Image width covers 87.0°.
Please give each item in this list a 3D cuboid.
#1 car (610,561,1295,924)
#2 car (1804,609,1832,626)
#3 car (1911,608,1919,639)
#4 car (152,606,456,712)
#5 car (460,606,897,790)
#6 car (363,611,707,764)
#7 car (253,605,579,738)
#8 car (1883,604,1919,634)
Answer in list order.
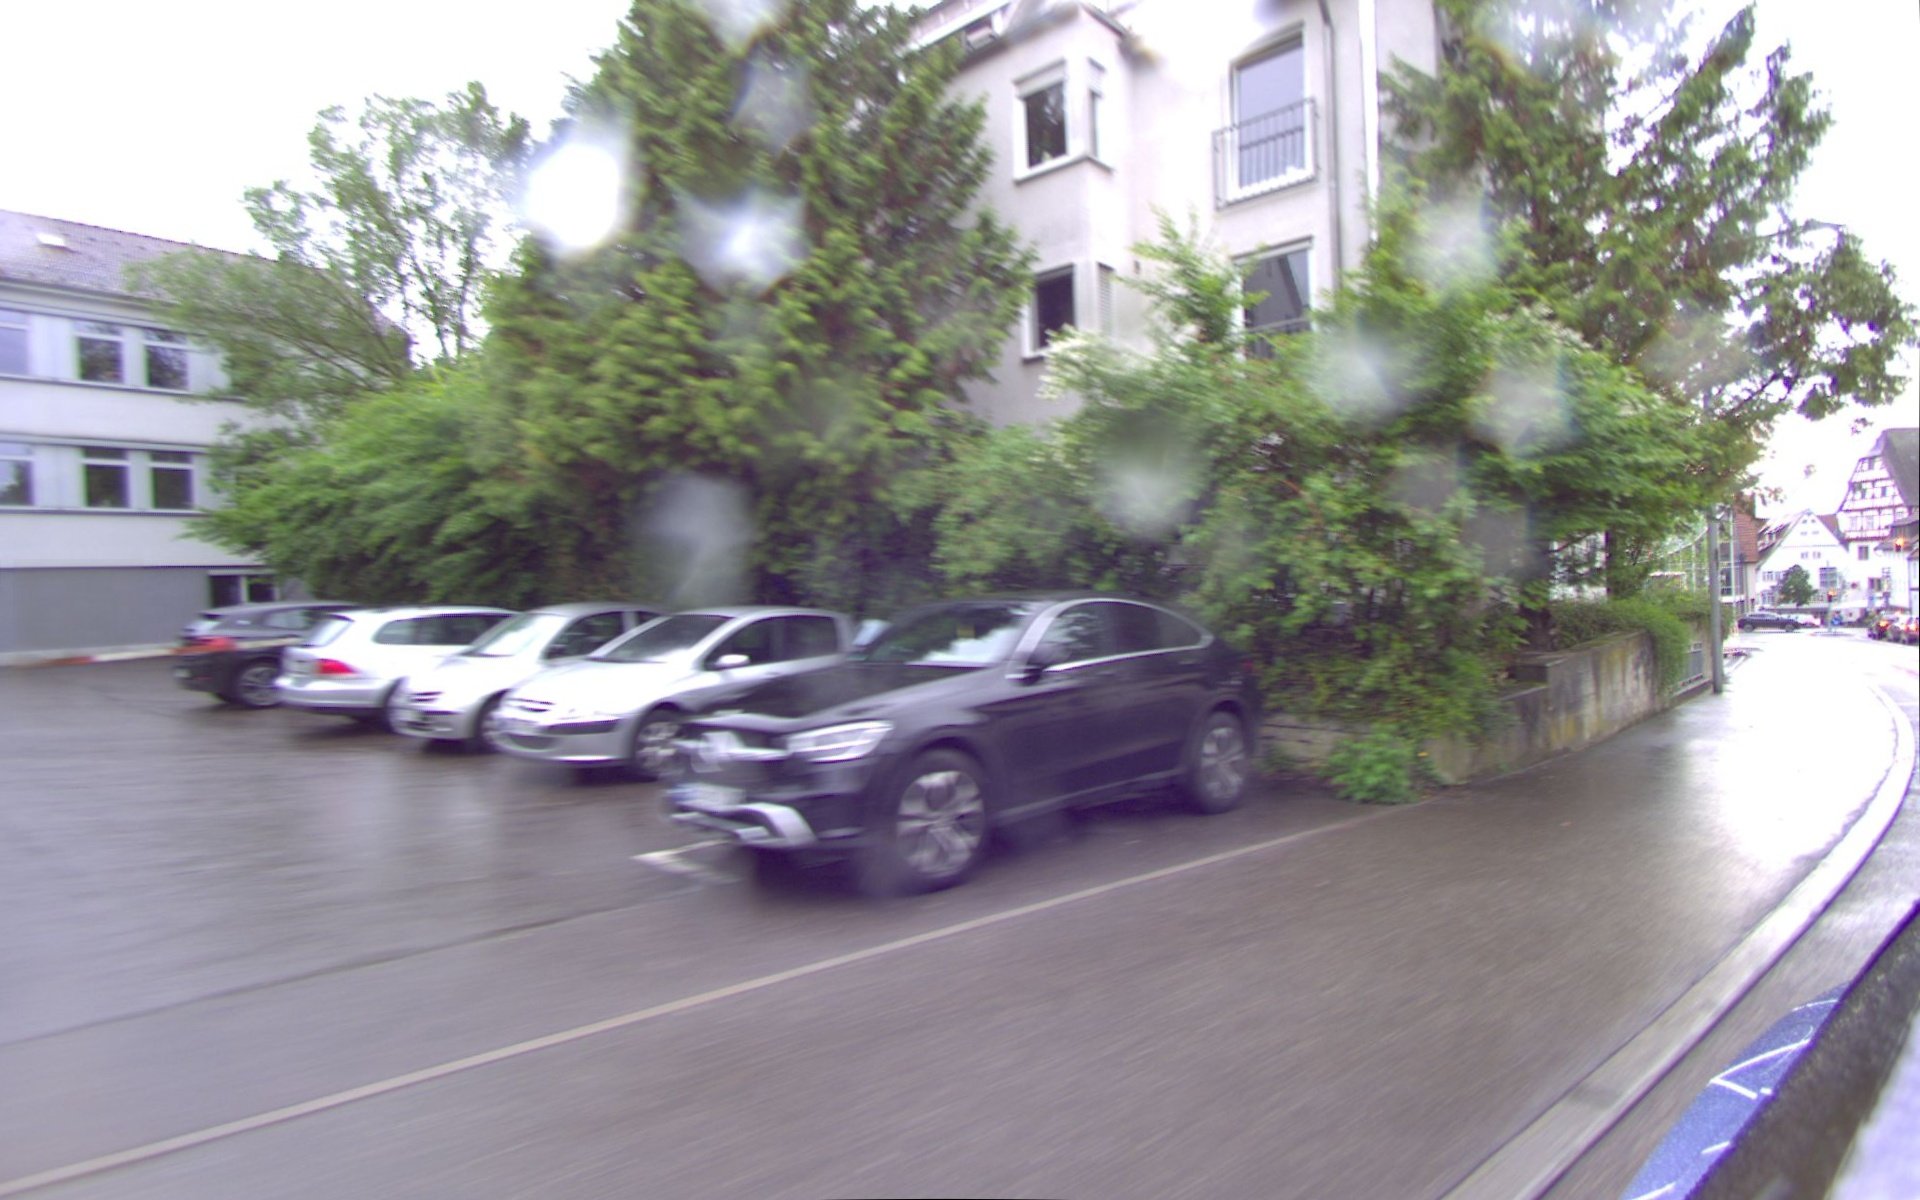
[{"bbox_3d":[0.284,0.673,6.759,1.780,1.591,4.652,-5,-3,44],"label":"car"},{"bbox_3d":[84.599,1.746,99.785,1.717,1.567,3.948,-2,-2,35],"label":"car"},{"bbox_3d":[47.286,1.101,48.740,1.796,1.458,4.621,-2,-2,39],"label":"car"},{"bbox_3d":[-10.103,0.818,15.755,1.758,1.453,3.662,-1,-1,43],"label":"car"},{"bbox_3d":[-2.607,0.792,10.132,1.736,1.453,3.967,-1,-1,39],"label":"car"},{"bbox_3d":[-4.731,0.865,11.567,1.604,1.453,3.272,-1,-1,39],"label":"car"},{"bbox_3d":[-6.818,0.794,12.863,1.758,1.453,3.268,-1,-1,43],"label":"car"},{"bbox_3d":[55.328,1.116,59.088,1.845,1.685,4.158,-3,-2,40],"label":"car"}]
